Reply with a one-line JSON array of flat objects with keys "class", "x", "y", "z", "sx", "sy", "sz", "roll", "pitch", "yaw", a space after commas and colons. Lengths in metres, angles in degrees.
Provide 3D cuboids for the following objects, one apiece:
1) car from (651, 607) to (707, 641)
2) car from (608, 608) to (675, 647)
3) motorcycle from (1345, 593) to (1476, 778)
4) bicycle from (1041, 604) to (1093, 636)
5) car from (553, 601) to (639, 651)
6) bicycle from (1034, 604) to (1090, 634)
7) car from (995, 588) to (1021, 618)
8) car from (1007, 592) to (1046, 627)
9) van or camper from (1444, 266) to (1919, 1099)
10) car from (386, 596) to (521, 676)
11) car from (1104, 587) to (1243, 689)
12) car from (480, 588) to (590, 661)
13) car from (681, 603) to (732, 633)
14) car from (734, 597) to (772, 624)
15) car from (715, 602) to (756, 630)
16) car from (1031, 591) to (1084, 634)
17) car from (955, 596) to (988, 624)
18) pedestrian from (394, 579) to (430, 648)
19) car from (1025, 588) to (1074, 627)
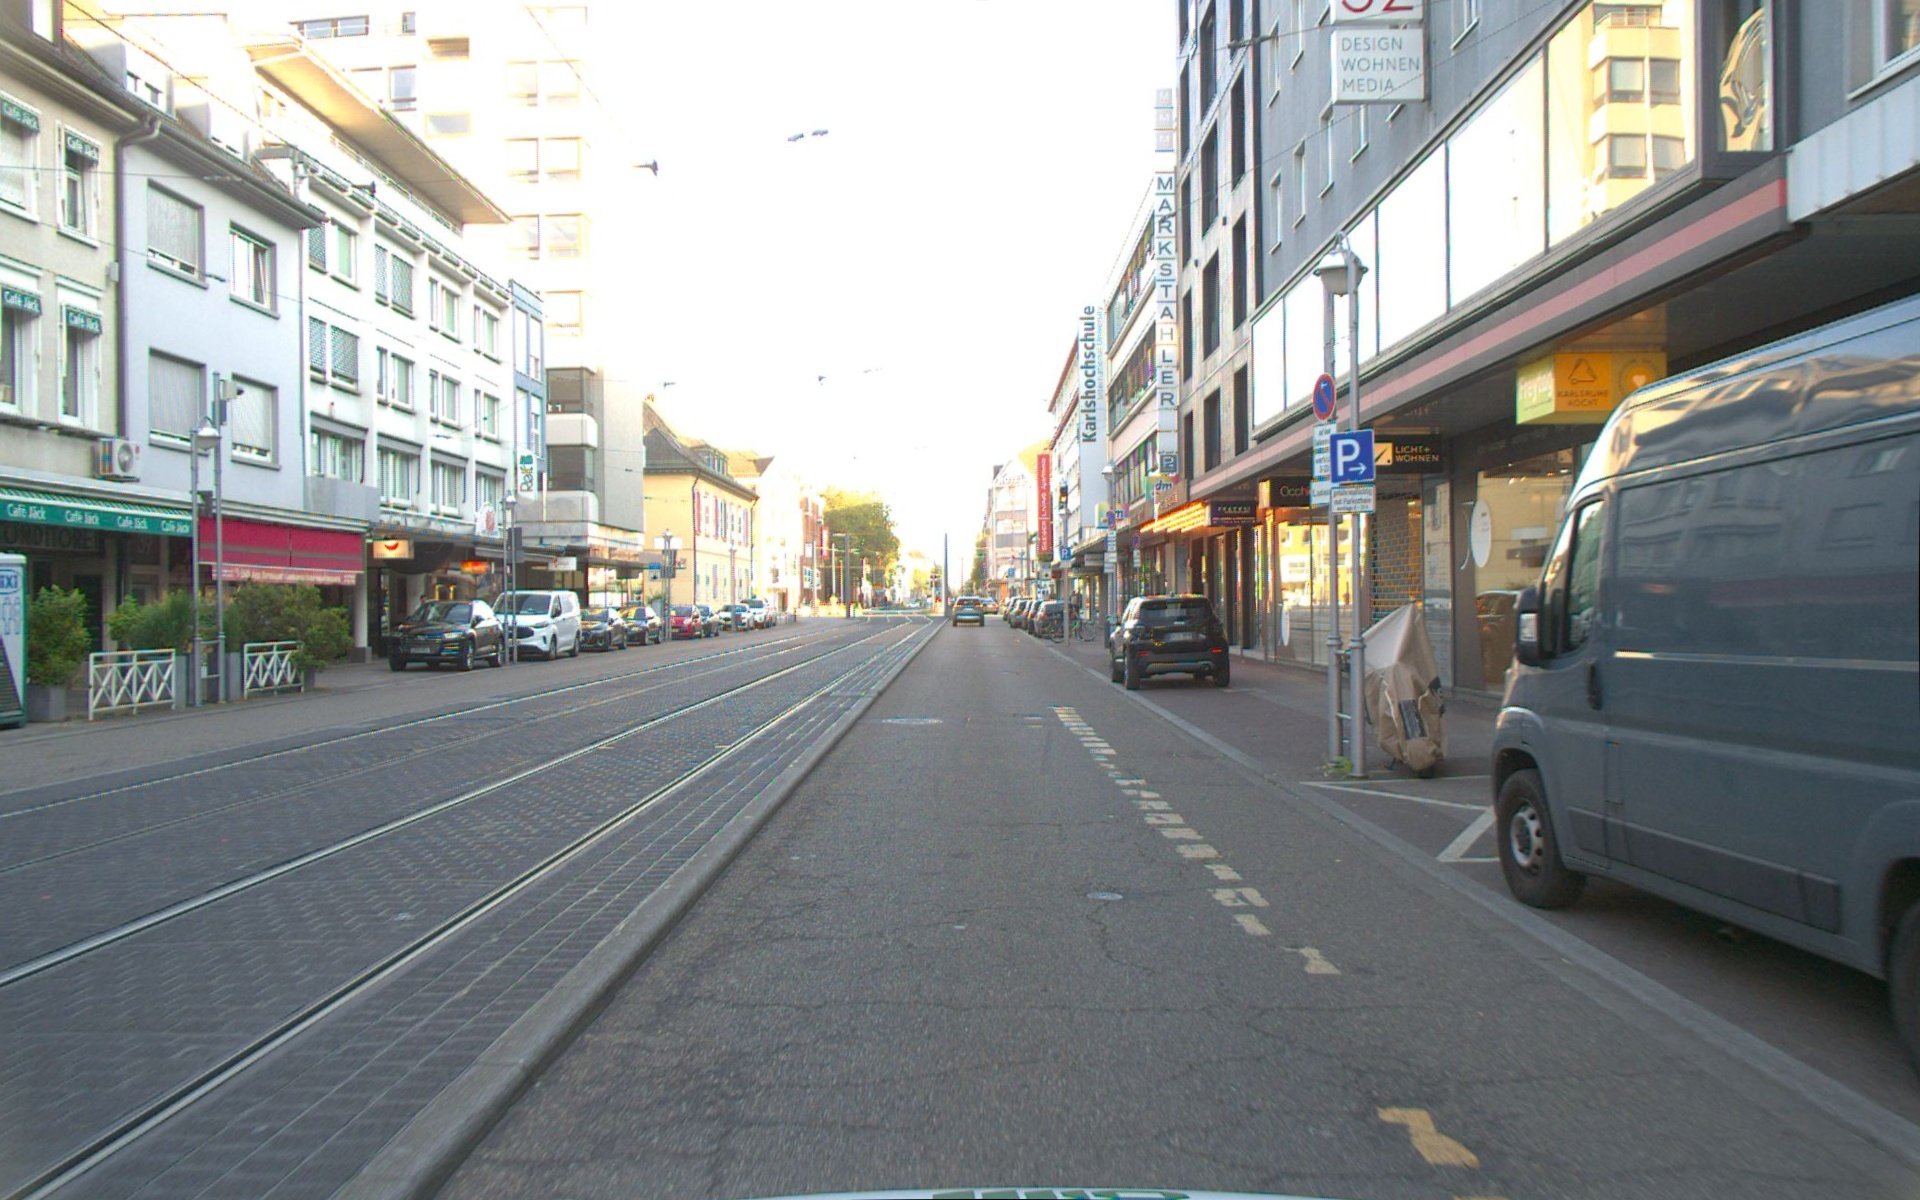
[{"class": "car", "x": -12.244, "y": 1.023, "z": 72.286, "sx": 1.754, "sy": 1.362, "sz": 3.891, "roll": 2, "pitch": 0, "yaw": -1}, {"class": "car", "x": -11.908, "y": 1.005, "z": 62.123, "sx": 1.754, "sy": 1.362, "sz": 3.891, "roll": 2, "pitch": 0, "yaw": -1}, {"class": "motorcycle", "x": 3.835, "y": 0.685, "z": 14.218, "sx": 0.795, "sy": 1.441, "sz": 2.006, "roll": -2, "pitch": 0, "yaw": 8}, {"class": "bicycle", "x": 3.867, "y": 0.727, "z": 59.957, "sx": 1.830, "sy": 1.109, "sz": 0.545, "roll": -1, "pitch": 0, "yaw": -1}, {"class": "car", "x": -12.218, "y": 0.843, "z": 55.829, "sx": 1.878, "sy": 1.547, "sz": 4.629, "roll": 2, "pitch": 0, "yaw": -1}, {"class": "bicycle", "x": 3.928, "y": 0.724, "z": 63.709, "sx": 2.076, "sy": 1.109, "sz": 0.591, "roll": -1, "pitch": 0, "yaw": -2}, {"class": "car", "x": 3.674, "y": 0.226, "z": 127.424, "sx": 1.904, "sy": 2.183, "sz": 4.545, "roll": -3, "pitch": 0, "yaw": 1}, {"class": "car", "x": 3.552, "y": 0.511, "z": 88.928, "sx": 1.904, "sy": 1.733, "sz": 4.545, "roll": -3, "pitch": 0, "yaw": 1}, {"class": "van or camper", "x": 3.875, "y": 0.210, "z": 6.474, "sx": 2.144, "sy": 2.468, "sz": 5.516, "roll": -3, "pitch": 0, "yaw": -1}, {"class": "car", "x": -12.369, "y": 0.837, "z": 40.691, "sx": 1.878, "sy": 1.794, "sz": 4.430, "roll": 1, "pitch": 0, "yaw": 1}, {"class": "car", "x": 3.697, "y": 0.619, "z": 29.411, "sx": 1.904, "sy": 1.571, "sz": 4.545, "roll": -3, "pitch": 0, "yaw": 1}, {"class": "car", "x": -12.367, "y": 0.684, "z": 48.424, "sx": 1.878, "sy": 1.969, "sz": 4.842, "roll": 1, "pitch": 0, "yaw": 1}, {"class": "car", "x": -11.913, "y": 0.828, "z": 77.904, "sx": 1.754, "sy": 1.362, "sz": 3.891, "roll": 2, "pitch": 0, "yaw": -1}, {"class": "car", "x": -12.096, "y": 0.610, "z": 96.931, "sx": 1.754, "sy": 1.475, "sz": 3.891, "roll": 2, "pitch": 0, "yaw": -1}, {"class": "car", "x": -12.318, "y": 0.865, "z": 90.882, "sx": 1.754, "sy": 1.475, "sz": 3.891, "roll": 2, "pitch": 0, "yaw": -1}, {"class": "car", "x": 3.961, "y": 0.487, "z": 67.512, "sx": 1.904, "sy": 1.571, "sz": 4.545, "roll": -3, "pitch": 0, "yaw": 1}, {"class": "car", "x": 0.686, "y": 0.541, "z": 95.839, "sx": 1.903, "sy": 1.572, "sz": 4.545, "roll": 0, "pitch": 0, "yaw": 1}, {"class": "pedestrian", "x": -14.867, "y": 0.361, "z": 44.914, "sx": 0.635, "sy": 1.852, "sz": 0.837, "roll": 2, "pitch": 0, "yaw": 0}, {"class": "car", "x": 3.924, "y": 0.309, "z": 73.103, "sx": 1.904, "sy": 1.571, "sz": 4.545, "roll": -3, "pitch": 0, "yaw": 1}]
